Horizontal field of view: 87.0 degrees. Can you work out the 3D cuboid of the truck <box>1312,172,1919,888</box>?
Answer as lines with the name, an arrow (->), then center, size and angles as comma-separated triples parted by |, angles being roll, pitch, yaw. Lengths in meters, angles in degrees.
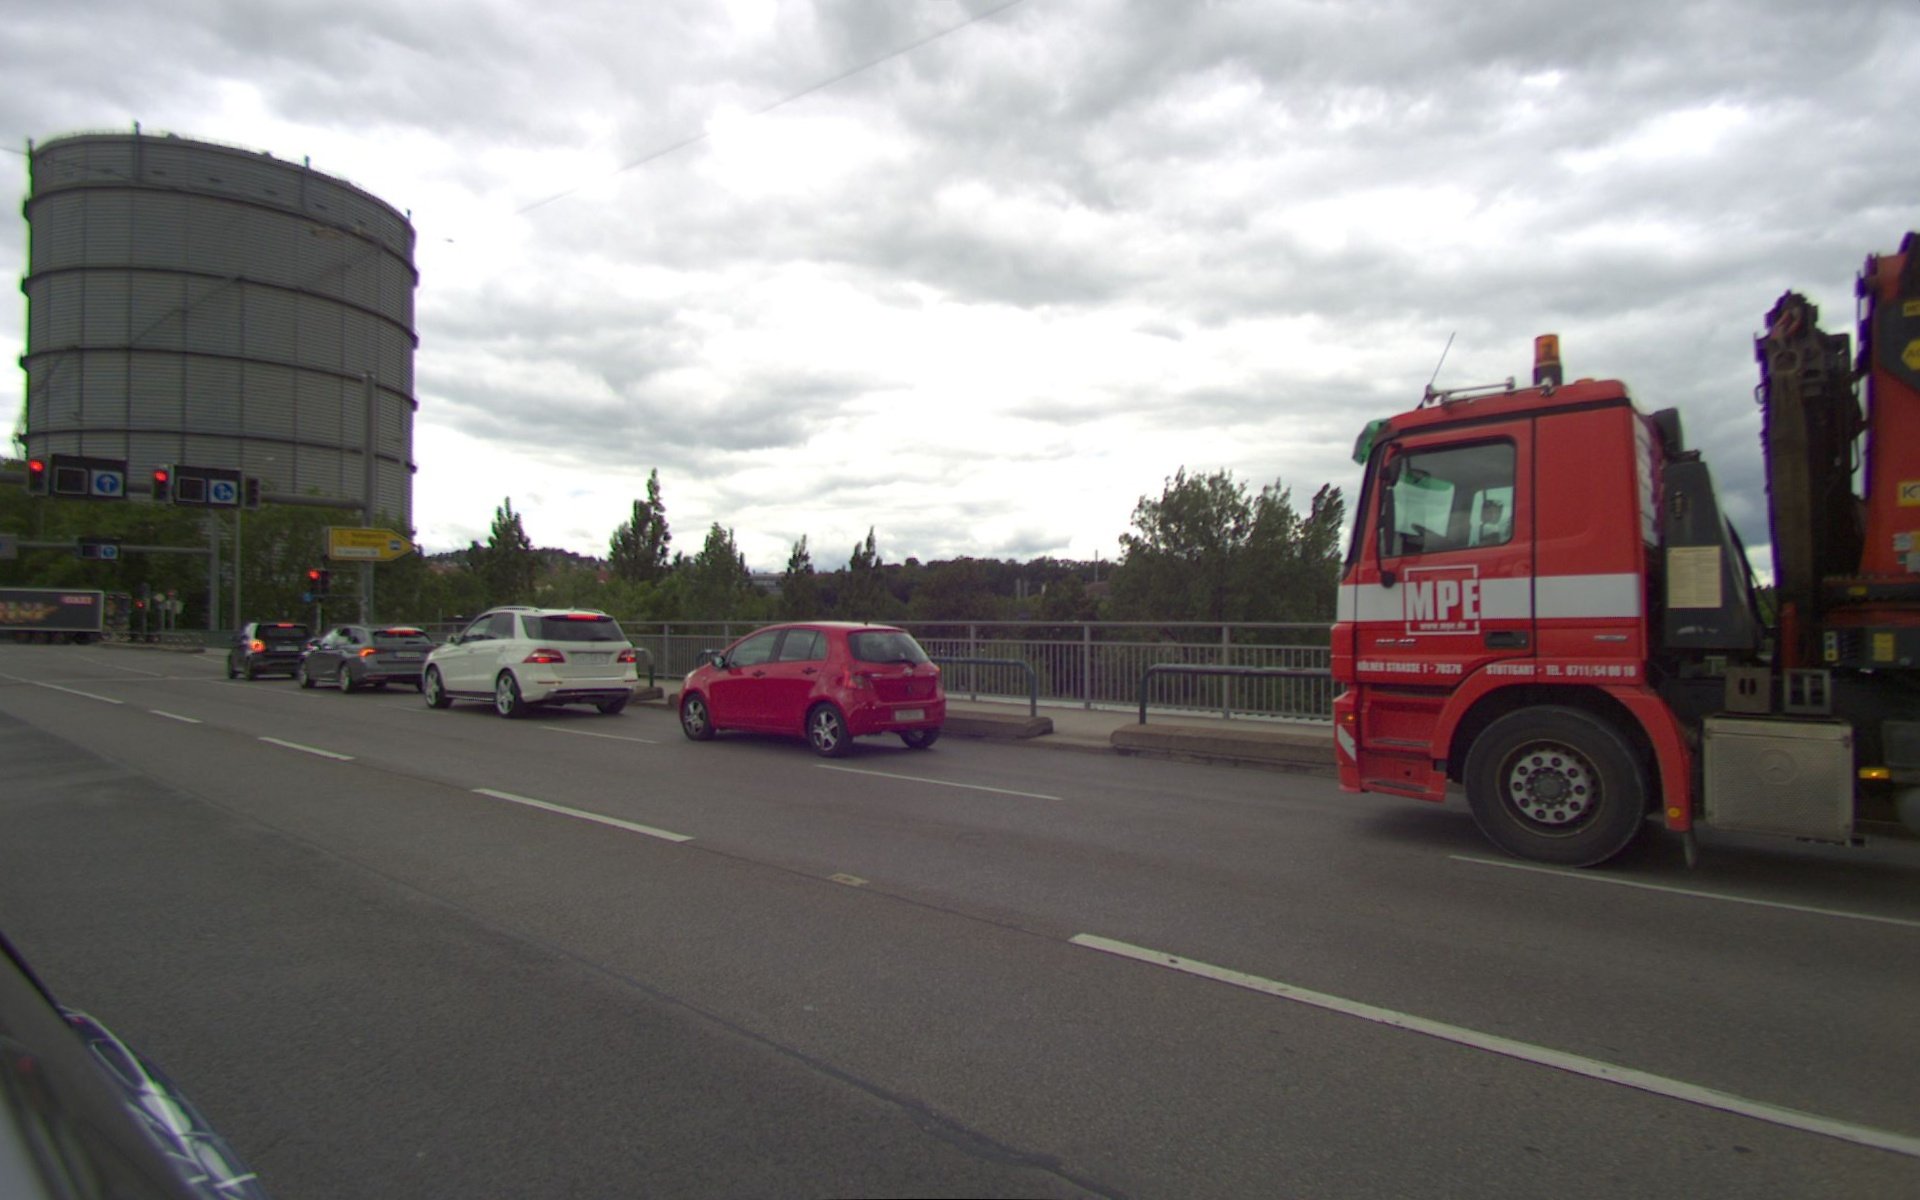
truck -> 7.200, -0.352, 4.961 | 9.976, 3.593, 2.974 | -1, -3, 41

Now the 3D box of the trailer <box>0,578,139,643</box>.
trailer -> -68.488, 0.731, 73.675 | 13.568, 4.354, 3.676 | 2, -4, -6

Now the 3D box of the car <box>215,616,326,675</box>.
car -> -19.110, 1.229, 27.982 | 3.873, 1.516, 1.814 | -2, -3, 45

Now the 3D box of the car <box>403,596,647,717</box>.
car -> -7.478, 0.902, 17.167 | 4.799, 1.774, 1.860 | -1, -3, 41

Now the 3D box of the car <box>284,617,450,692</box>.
car -> -13.320, 1.174, 22.635 | 4.514, 1.516, 1.816 | -1, -3, 41

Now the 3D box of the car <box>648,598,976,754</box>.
car -> -1.928, 0.857, 12.576 | 4.013, 1.615, 1.860 | -1, -3, 41
